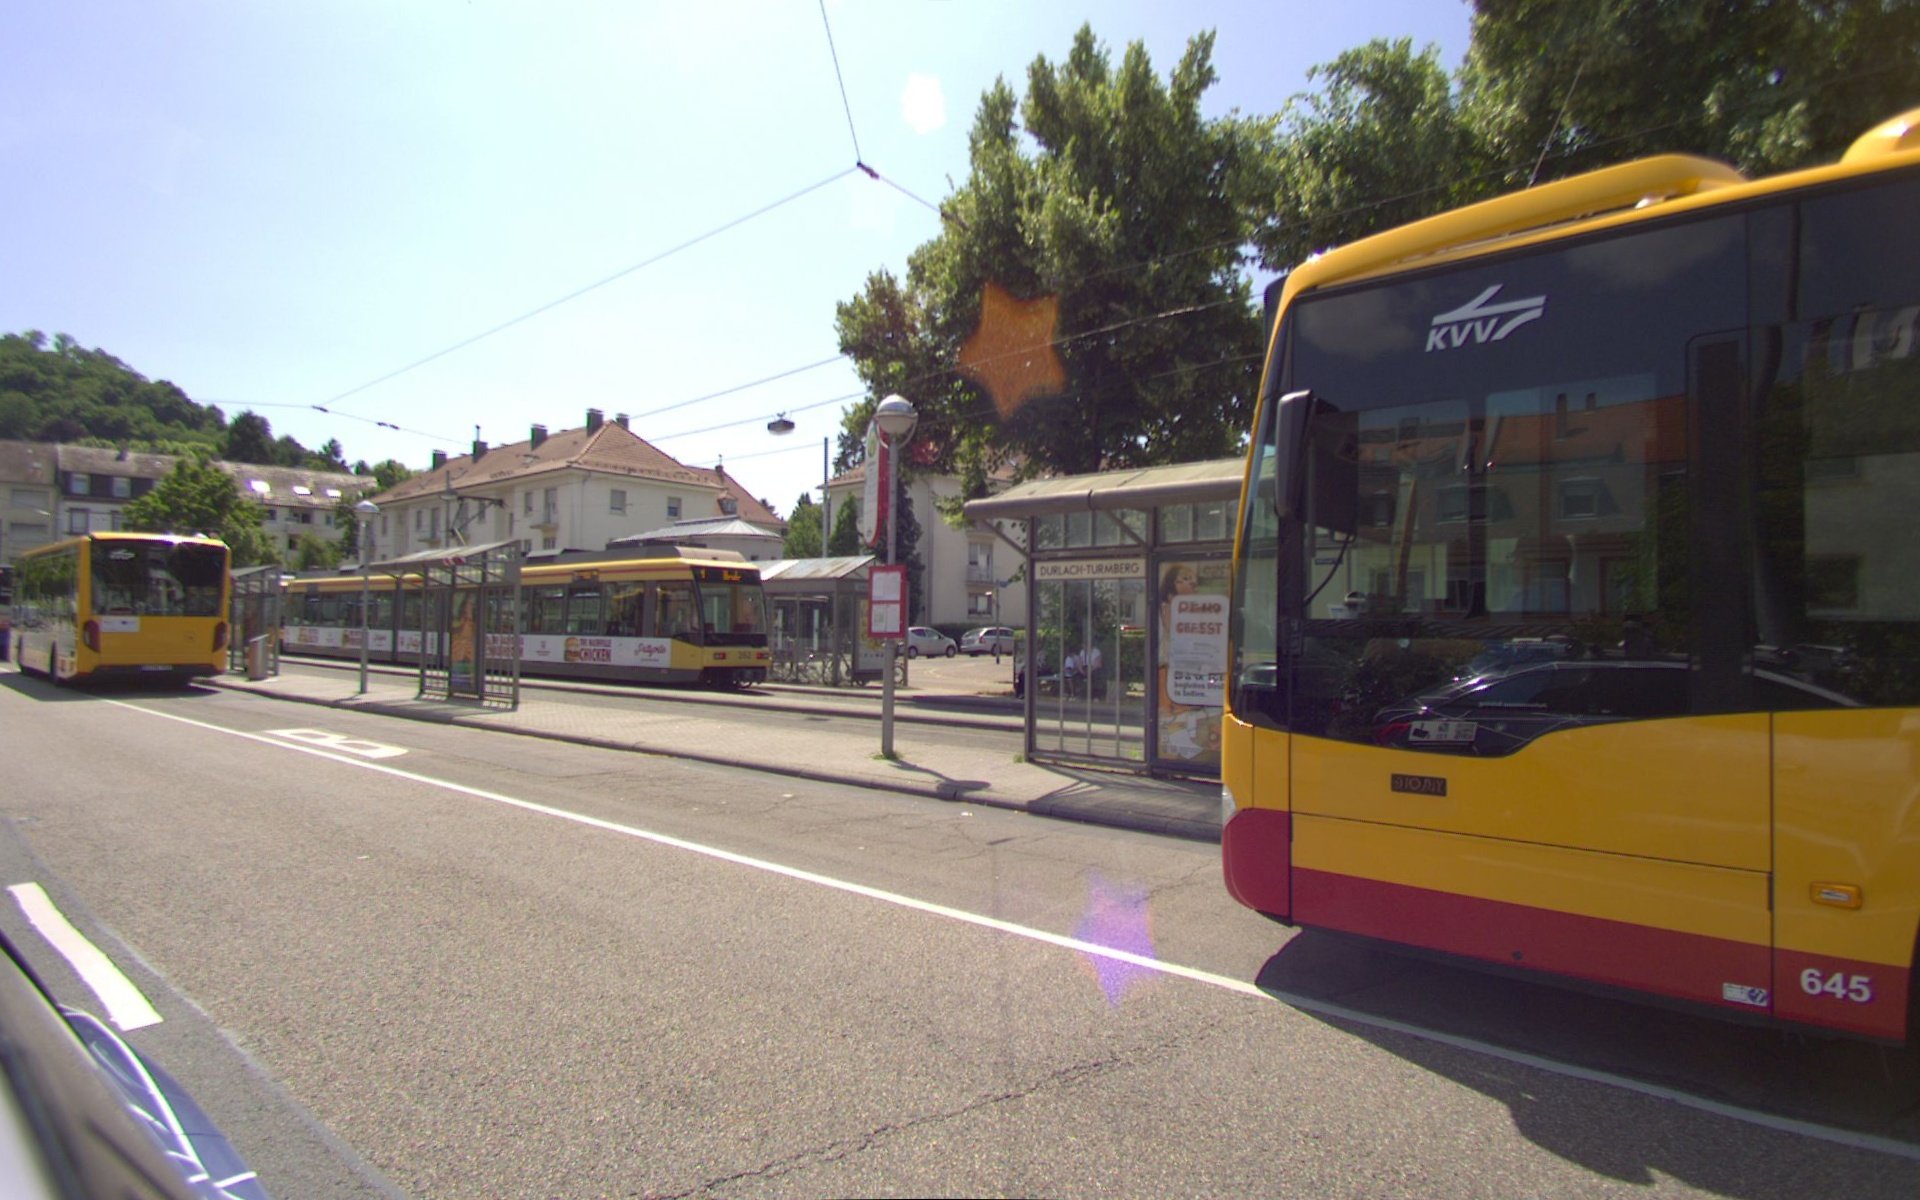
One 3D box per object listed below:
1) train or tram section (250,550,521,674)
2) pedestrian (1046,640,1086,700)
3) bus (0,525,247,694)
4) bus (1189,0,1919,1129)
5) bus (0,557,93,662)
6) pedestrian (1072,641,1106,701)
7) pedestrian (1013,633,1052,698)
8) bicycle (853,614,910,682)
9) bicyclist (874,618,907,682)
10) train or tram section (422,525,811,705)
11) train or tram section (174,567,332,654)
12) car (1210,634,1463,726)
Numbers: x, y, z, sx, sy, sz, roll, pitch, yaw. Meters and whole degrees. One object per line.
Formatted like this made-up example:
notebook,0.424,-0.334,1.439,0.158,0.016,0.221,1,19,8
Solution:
train or tram section,-21.443,0.380,36.683,17.342,3.670,2.933,0,0,41
pedestrian,2.139,1.395,20.399,0.540,1.147,0.608,1,1,43
bus,-20.806,0.098,24.658,12.191,3.271,2.868,1,1,41
bus,6.445,-0.264,1.213,12.110,3.272,2.878,0,0,40
bus,-35.481,0.407,37.784,12.031,3.453,2.878,-1,-1,40
pedestrian,2.546,1.394,20.024,0.456,1.147,0.505,1,1,43
pedestrian,1.501,1.338,20.875,0.540,1.260,0.608,1,1,43
bicycle,-2.242,1.327,28.679,1.669,1.827,0.625,1,1,41
bicyclist,-1.954,1.388,28.441,0.672,1.756,0.628,1,1,40
train or tram section,-9.620,0.324,26.371,13.986,3.670,2.933,0,0,41
train or tram section,-32.661,0.436,46.394,12.650,3.521,2.933,0,0,41
car,6.695,1.358,18.241,3.998,1.283,1.552,1,1,41
